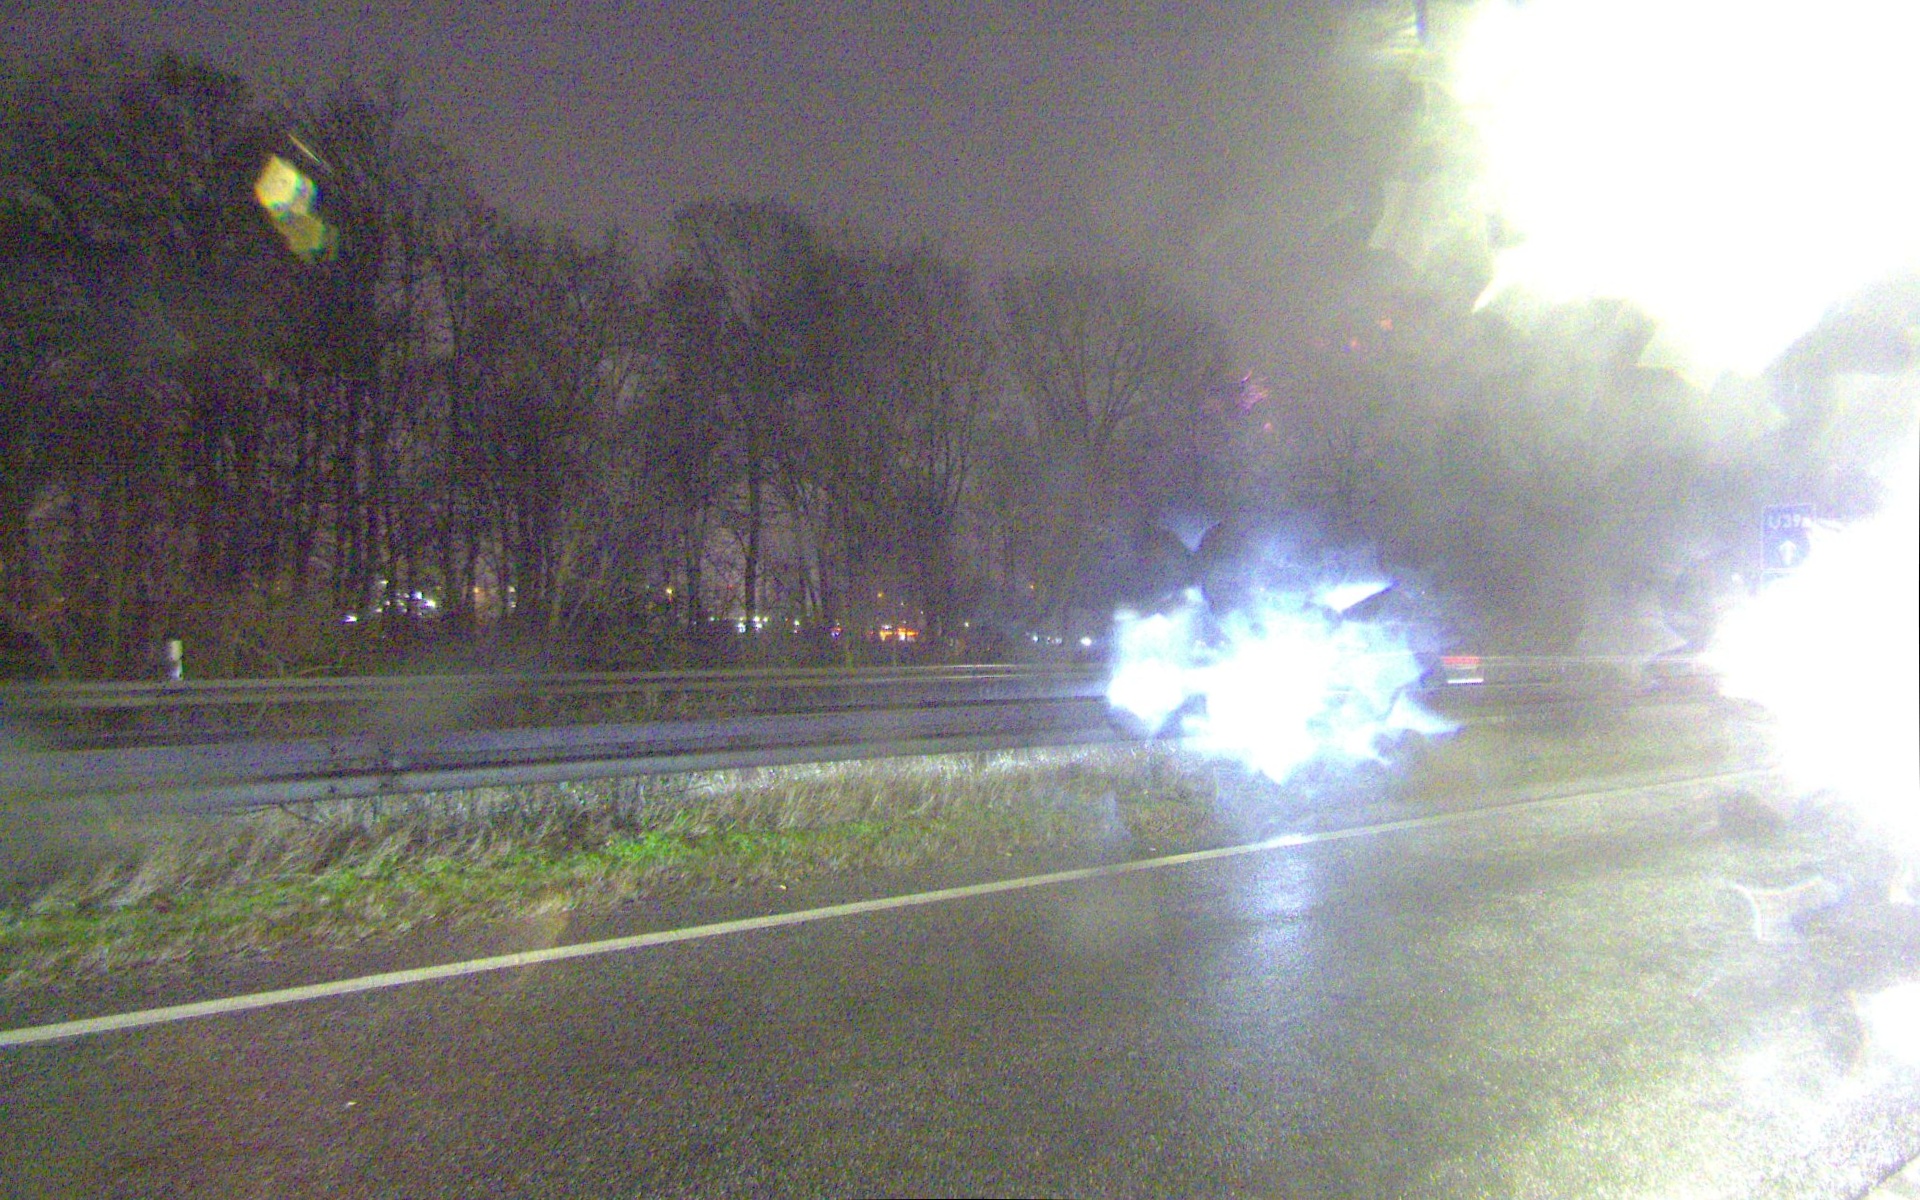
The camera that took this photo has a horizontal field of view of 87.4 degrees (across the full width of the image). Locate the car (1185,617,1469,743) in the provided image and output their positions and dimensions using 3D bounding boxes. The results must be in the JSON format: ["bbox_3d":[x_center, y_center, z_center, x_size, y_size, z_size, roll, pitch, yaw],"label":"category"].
[{"bbox_3d":[5.301,1.047,14.383,3.964,1.572,1.743,1,-1,-31],"label":"car"}]
